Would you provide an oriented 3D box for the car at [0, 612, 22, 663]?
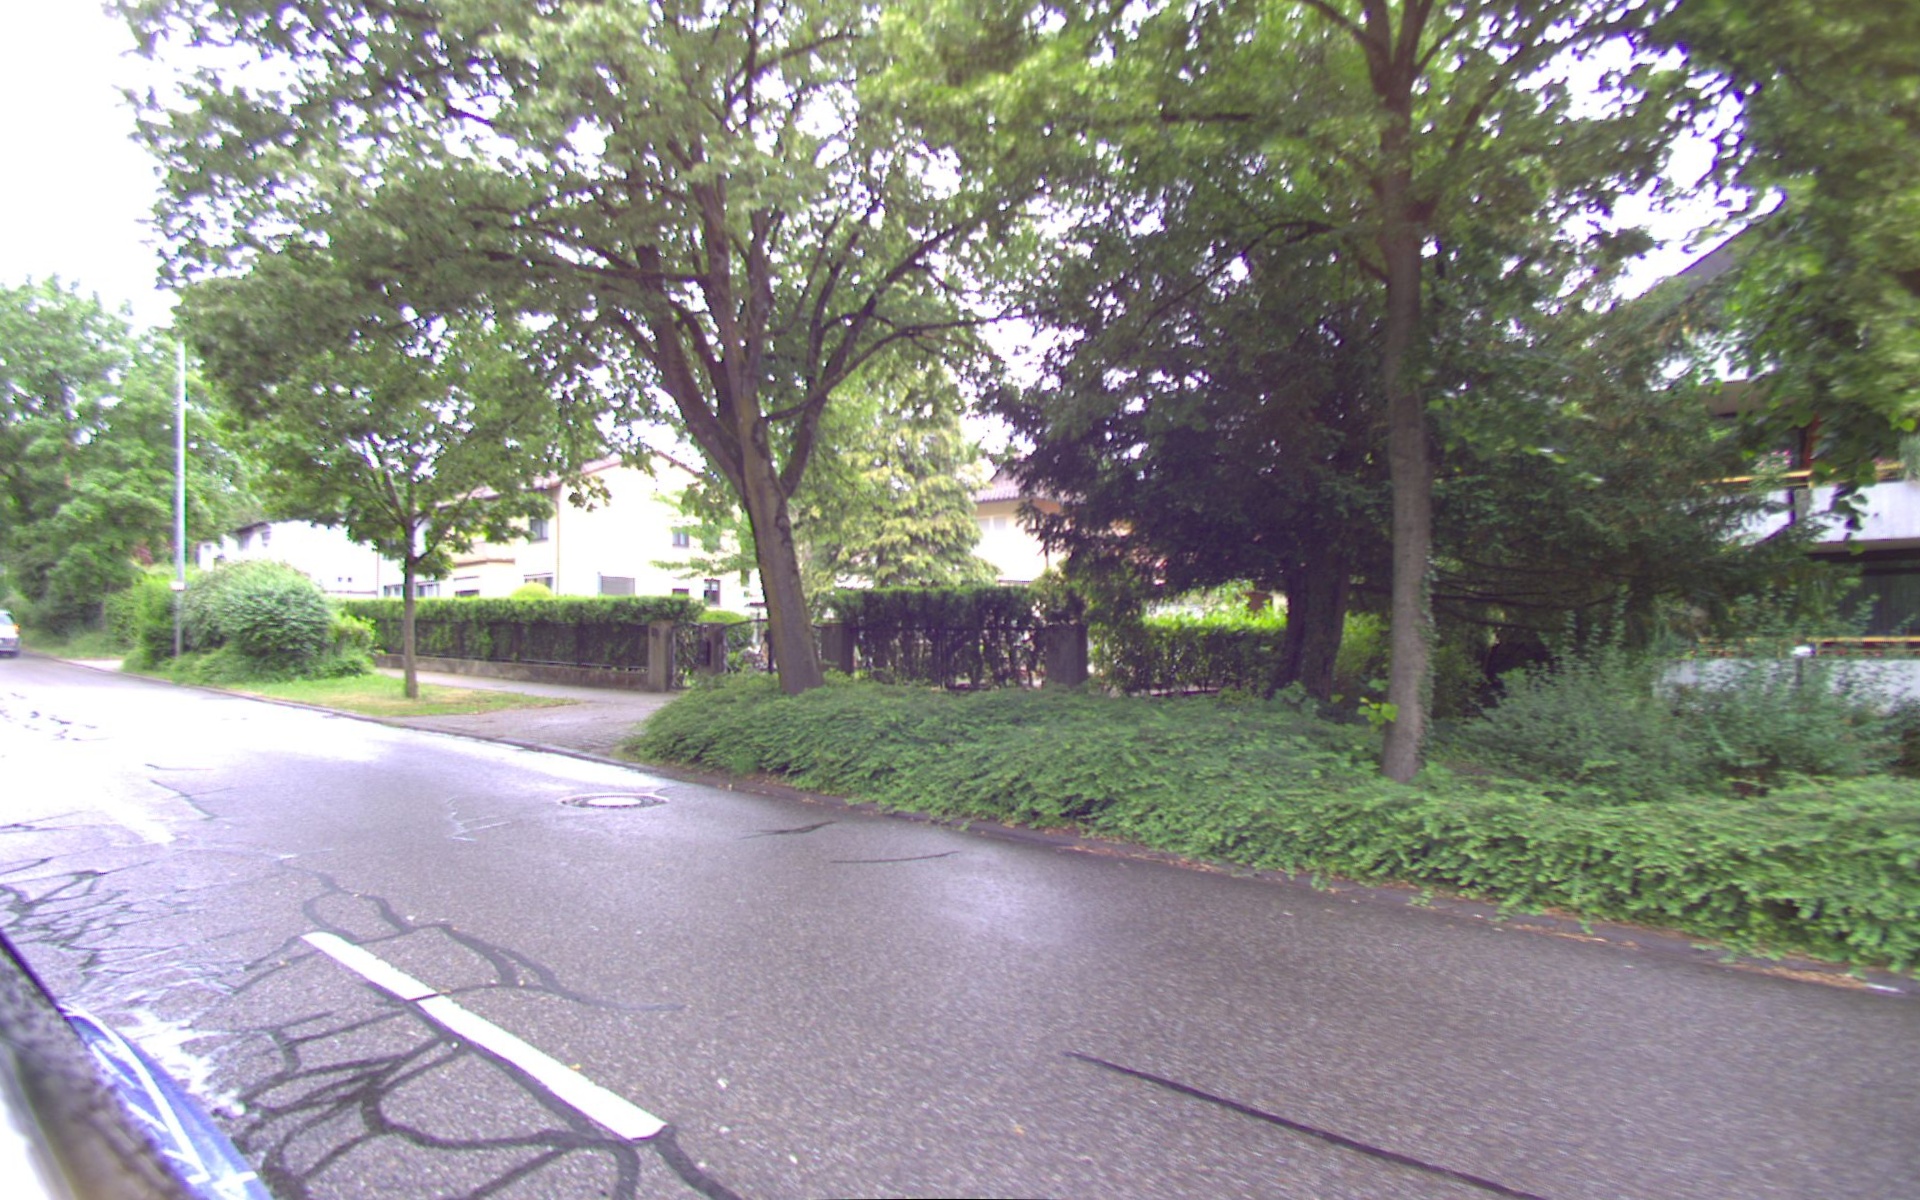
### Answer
[{"bbox_3d":[-32.253,1.210,33.129,4.138,1.626,1.745,-1,-3,41],"label":"car"}]
